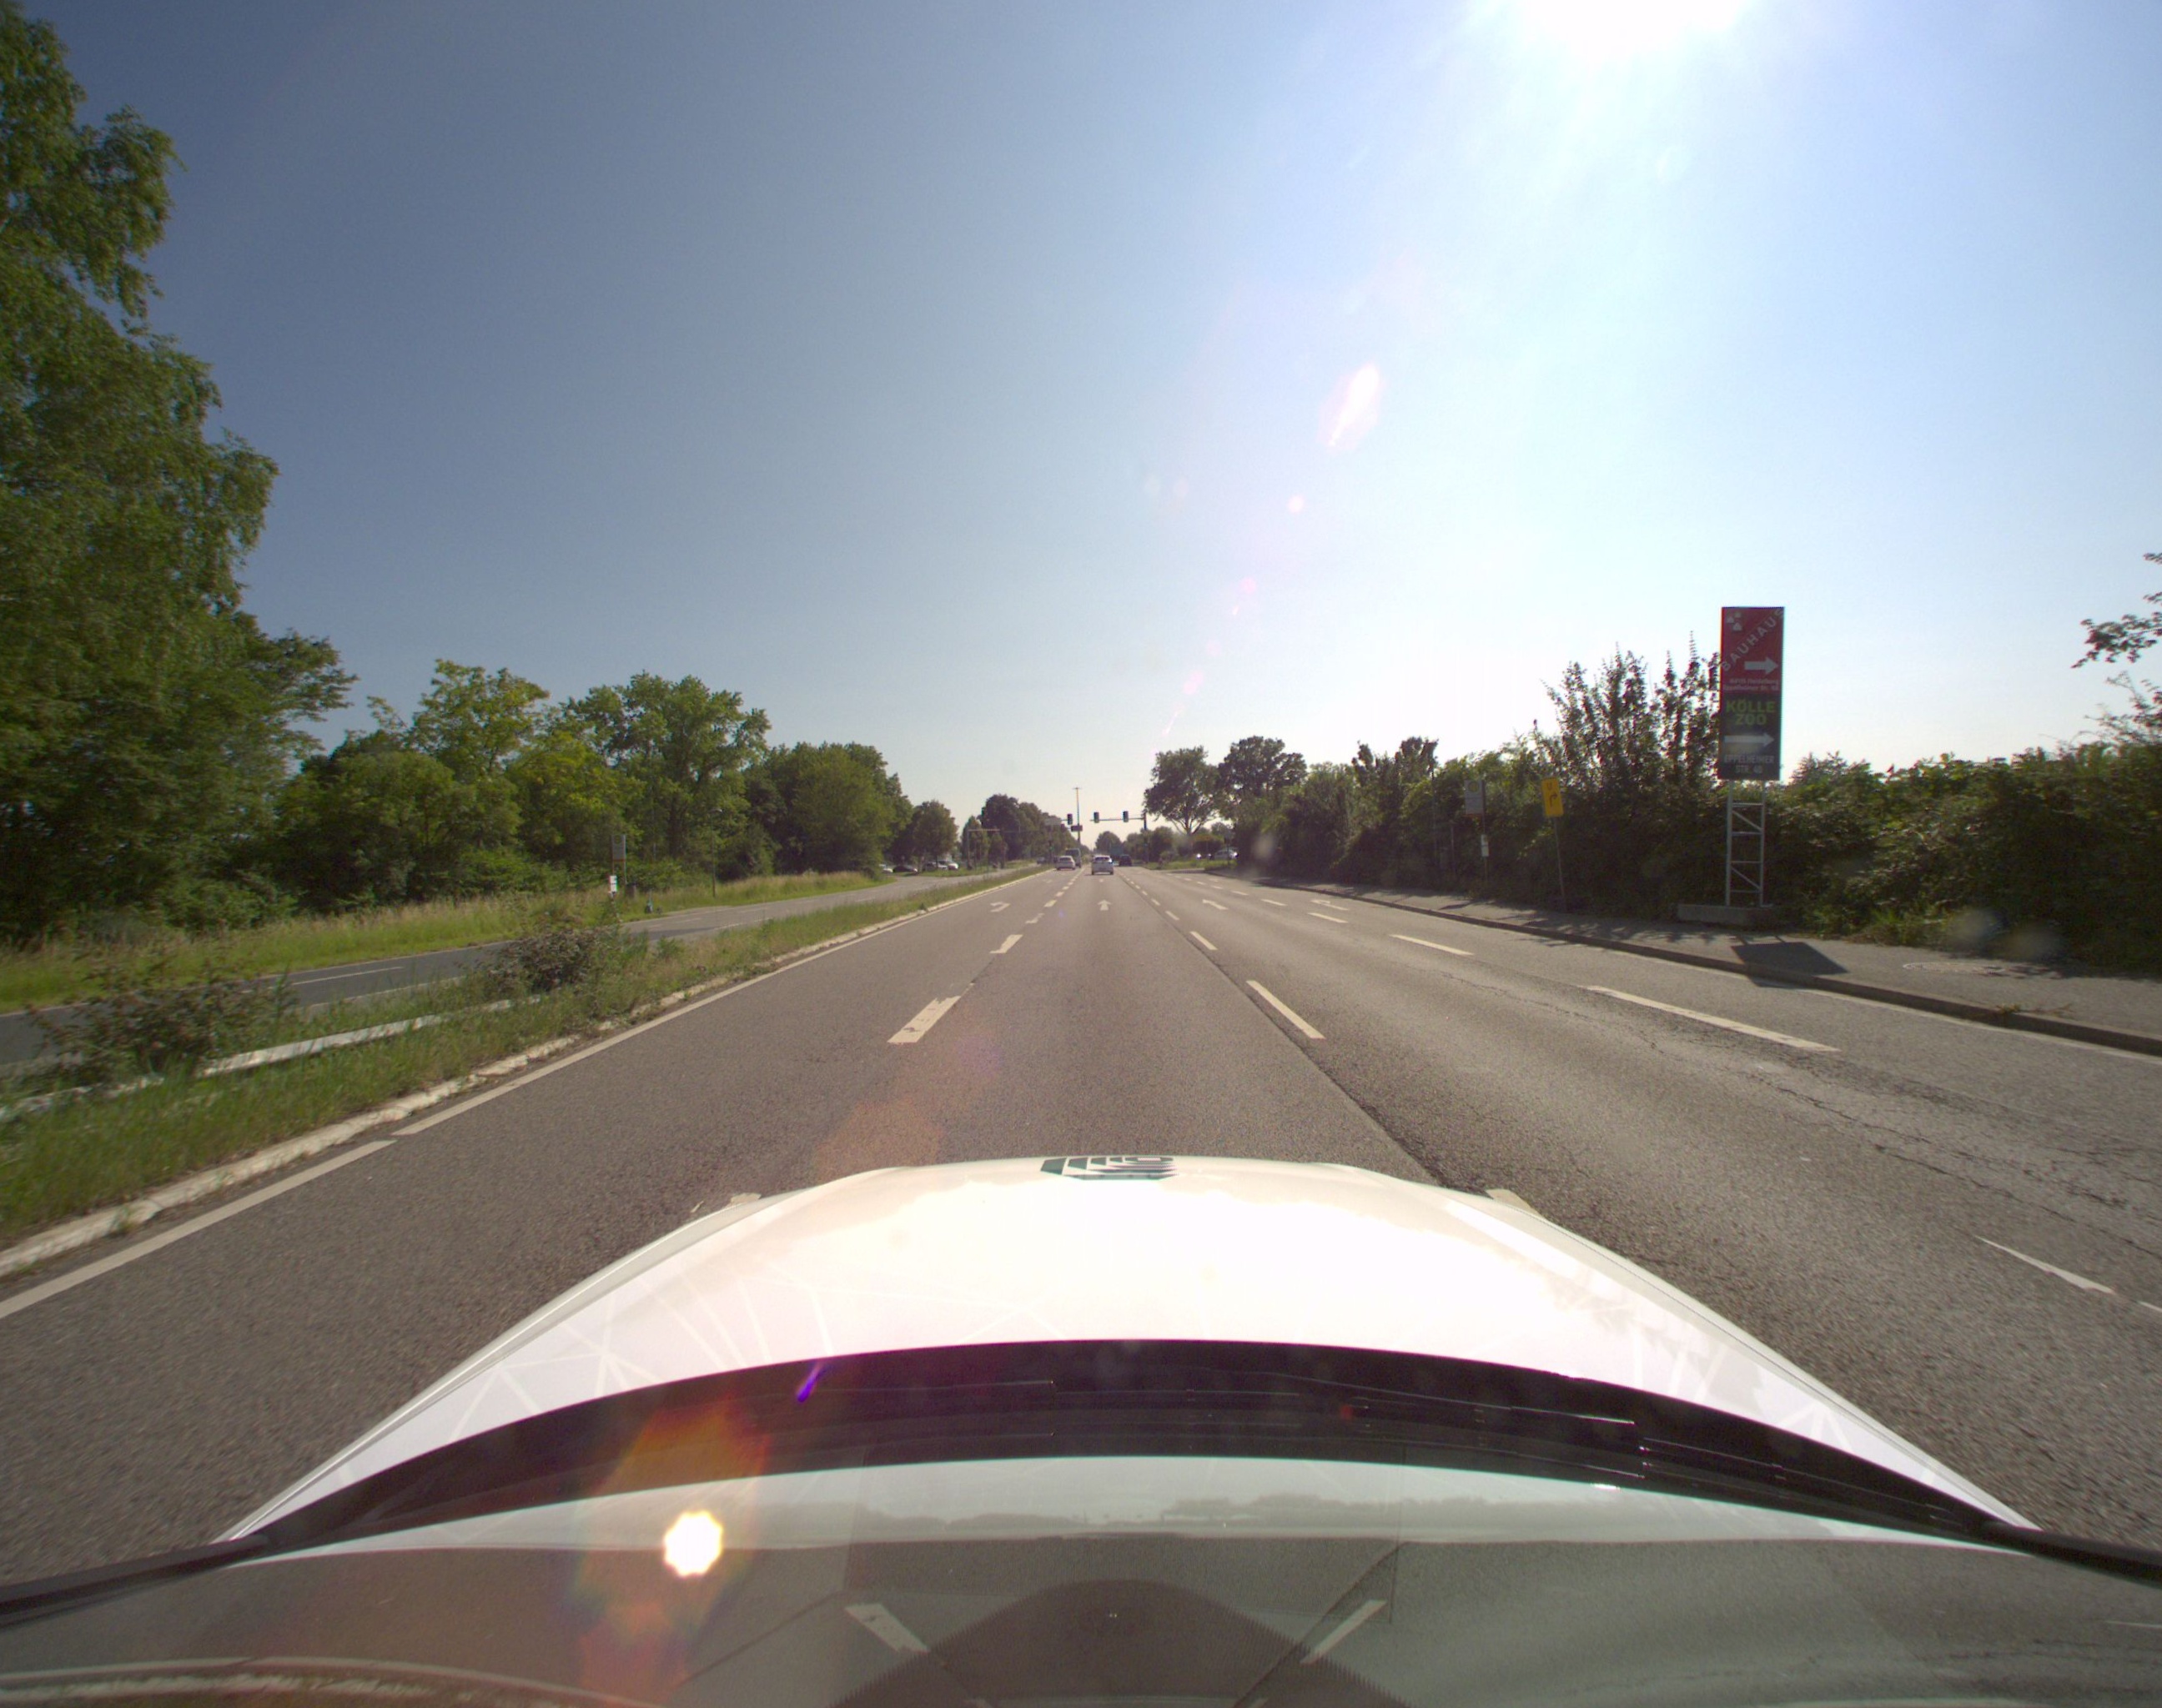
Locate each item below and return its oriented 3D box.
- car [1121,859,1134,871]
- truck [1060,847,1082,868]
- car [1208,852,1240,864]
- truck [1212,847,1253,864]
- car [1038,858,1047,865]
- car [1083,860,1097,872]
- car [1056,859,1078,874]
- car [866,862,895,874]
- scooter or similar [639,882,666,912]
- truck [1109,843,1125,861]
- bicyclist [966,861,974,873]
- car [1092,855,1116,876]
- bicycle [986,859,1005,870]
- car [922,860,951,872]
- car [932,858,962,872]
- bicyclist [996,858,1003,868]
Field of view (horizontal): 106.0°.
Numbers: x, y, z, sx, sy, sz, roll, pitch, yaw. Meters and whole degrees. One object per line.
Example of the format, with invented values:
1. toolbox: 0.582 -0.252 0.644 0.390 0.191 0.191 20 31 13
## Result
1. car: 5.771 1.364 101.402 1.566 1.414 3.278 -1 -1 1
2. truck: -1.135 0.445 98.187 2.365 2.389 6.041 -2 0 1
3. car: 18.460 0.475 105.069 3.709 1.469 1.796 -1 -1 25
4. truck: 22.503 0.290 121.176 2.353 2.386 6.409 2 -2 -32
5. car: -8.242 1.524 173.683 1.480 1.414 3.763 -4 0 1
6. car: 1.109 1.443 100.447 1.566 1.414 3.278 -2 -1 1
7. car: -1.420 1.299 85.145 1.804 1.464 4.977 -1 -1 5
8. car: -32.329 2.269 131.092 4.448 1.801 2.018 -3 -1 36
9. scooter or similar: -18.002 1.803 34.248 0.367 1.186 1.341 -3 -1 1
10. truck: 6.962 -0.354 158.895 2.881 3.428 9.171 -2 0 1
11. bicyclist: -13.673 1.593 100.108 0.842 1.517 0.748 -1 0 6
12. car: 1.758 0.832 62.913 1.792 1.553 4.002 0 0 2
13. bicycle: -13.661 1.713 130.566 2.765 1.670 1.143 -2 0 28
14. car: -21.956 1.877 123.546 4.212 1.606 2.018 -3 -1 36
15. car: -20.924 1.683 127.006 4.595 1.950 2.013 -2 -1 36
16. bicyclist: -13.027 1.418 130.264 0.854 1.619 0.763 -1 -1 29
